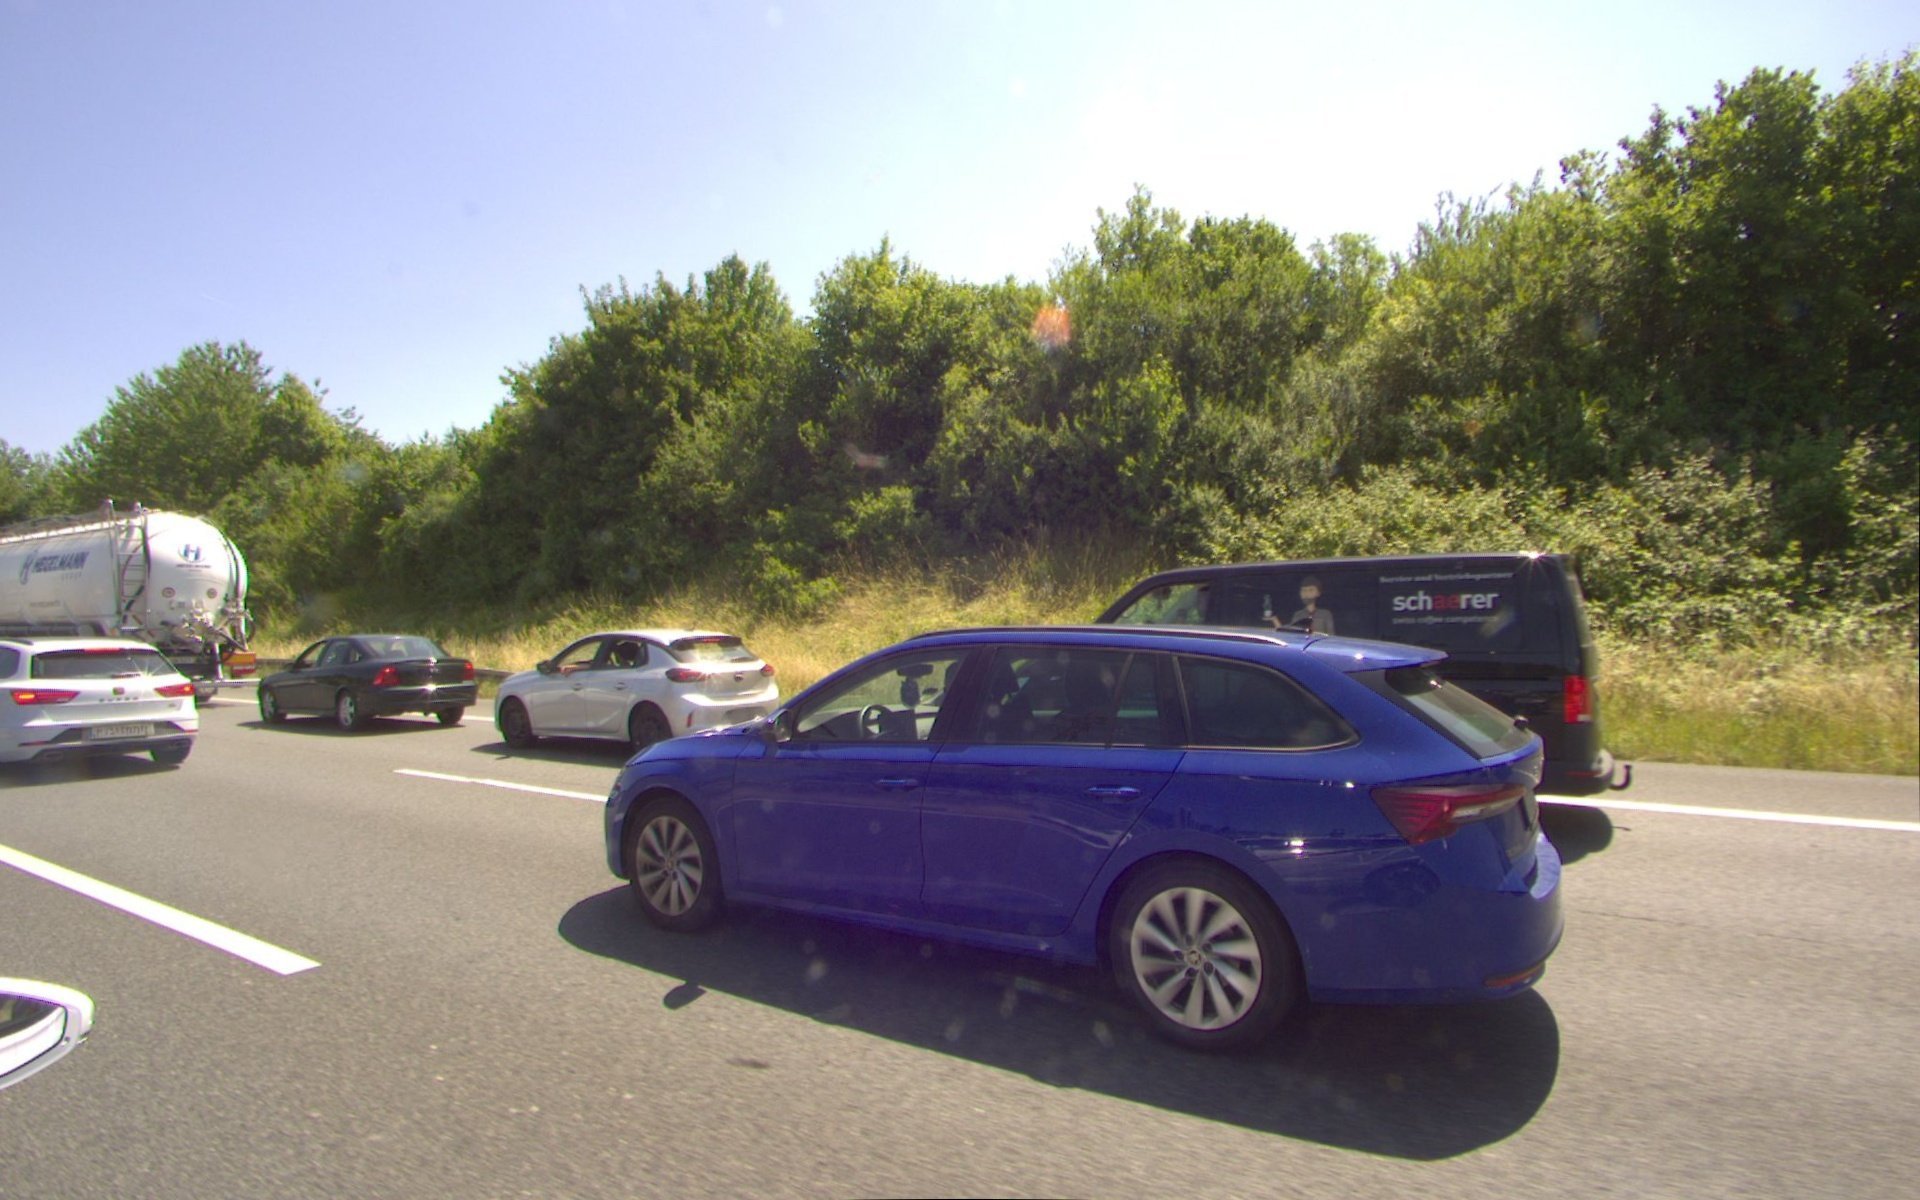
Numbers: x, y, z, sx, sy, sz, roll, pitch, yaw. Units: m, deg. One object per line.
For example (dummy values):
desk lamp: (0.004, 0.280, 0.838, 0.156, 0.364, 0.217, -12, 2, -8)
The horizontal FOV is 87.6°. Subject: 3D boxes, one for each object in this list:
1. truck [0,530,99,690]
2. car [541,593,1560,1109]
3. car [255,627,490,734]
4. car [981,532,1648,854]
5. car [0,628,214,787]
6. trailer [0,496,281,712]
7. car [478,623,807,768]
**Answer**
truck: (-25.486, 0.299, 26.368, 5.494, 3.887, 2.787, -1, 0, 33)
car: (0.202, 0.771, 4.769, 4.508, 1.435, 1.772, -2, 0, 32)
car: (-9.321, 1.204, 15.800, 3.935, 1.435, 1.637, -2, 0, 34)
car: (2.711, 0.645, 8.248, 4.790, 1.965, 1.909, -2, -1, 34)
car: (-10.357, 1.102, 11.341, 4.255, 1.462, 1.743, -2, -1, 34)
trailer: (-19.368, 0.187, 22.354, 11.324, 3.895, 2.755, -1, 0, 33)
car: (-3.946, 1.041, 12.254, 3.971, 1.462, 1.727, -1, 0, 33)
